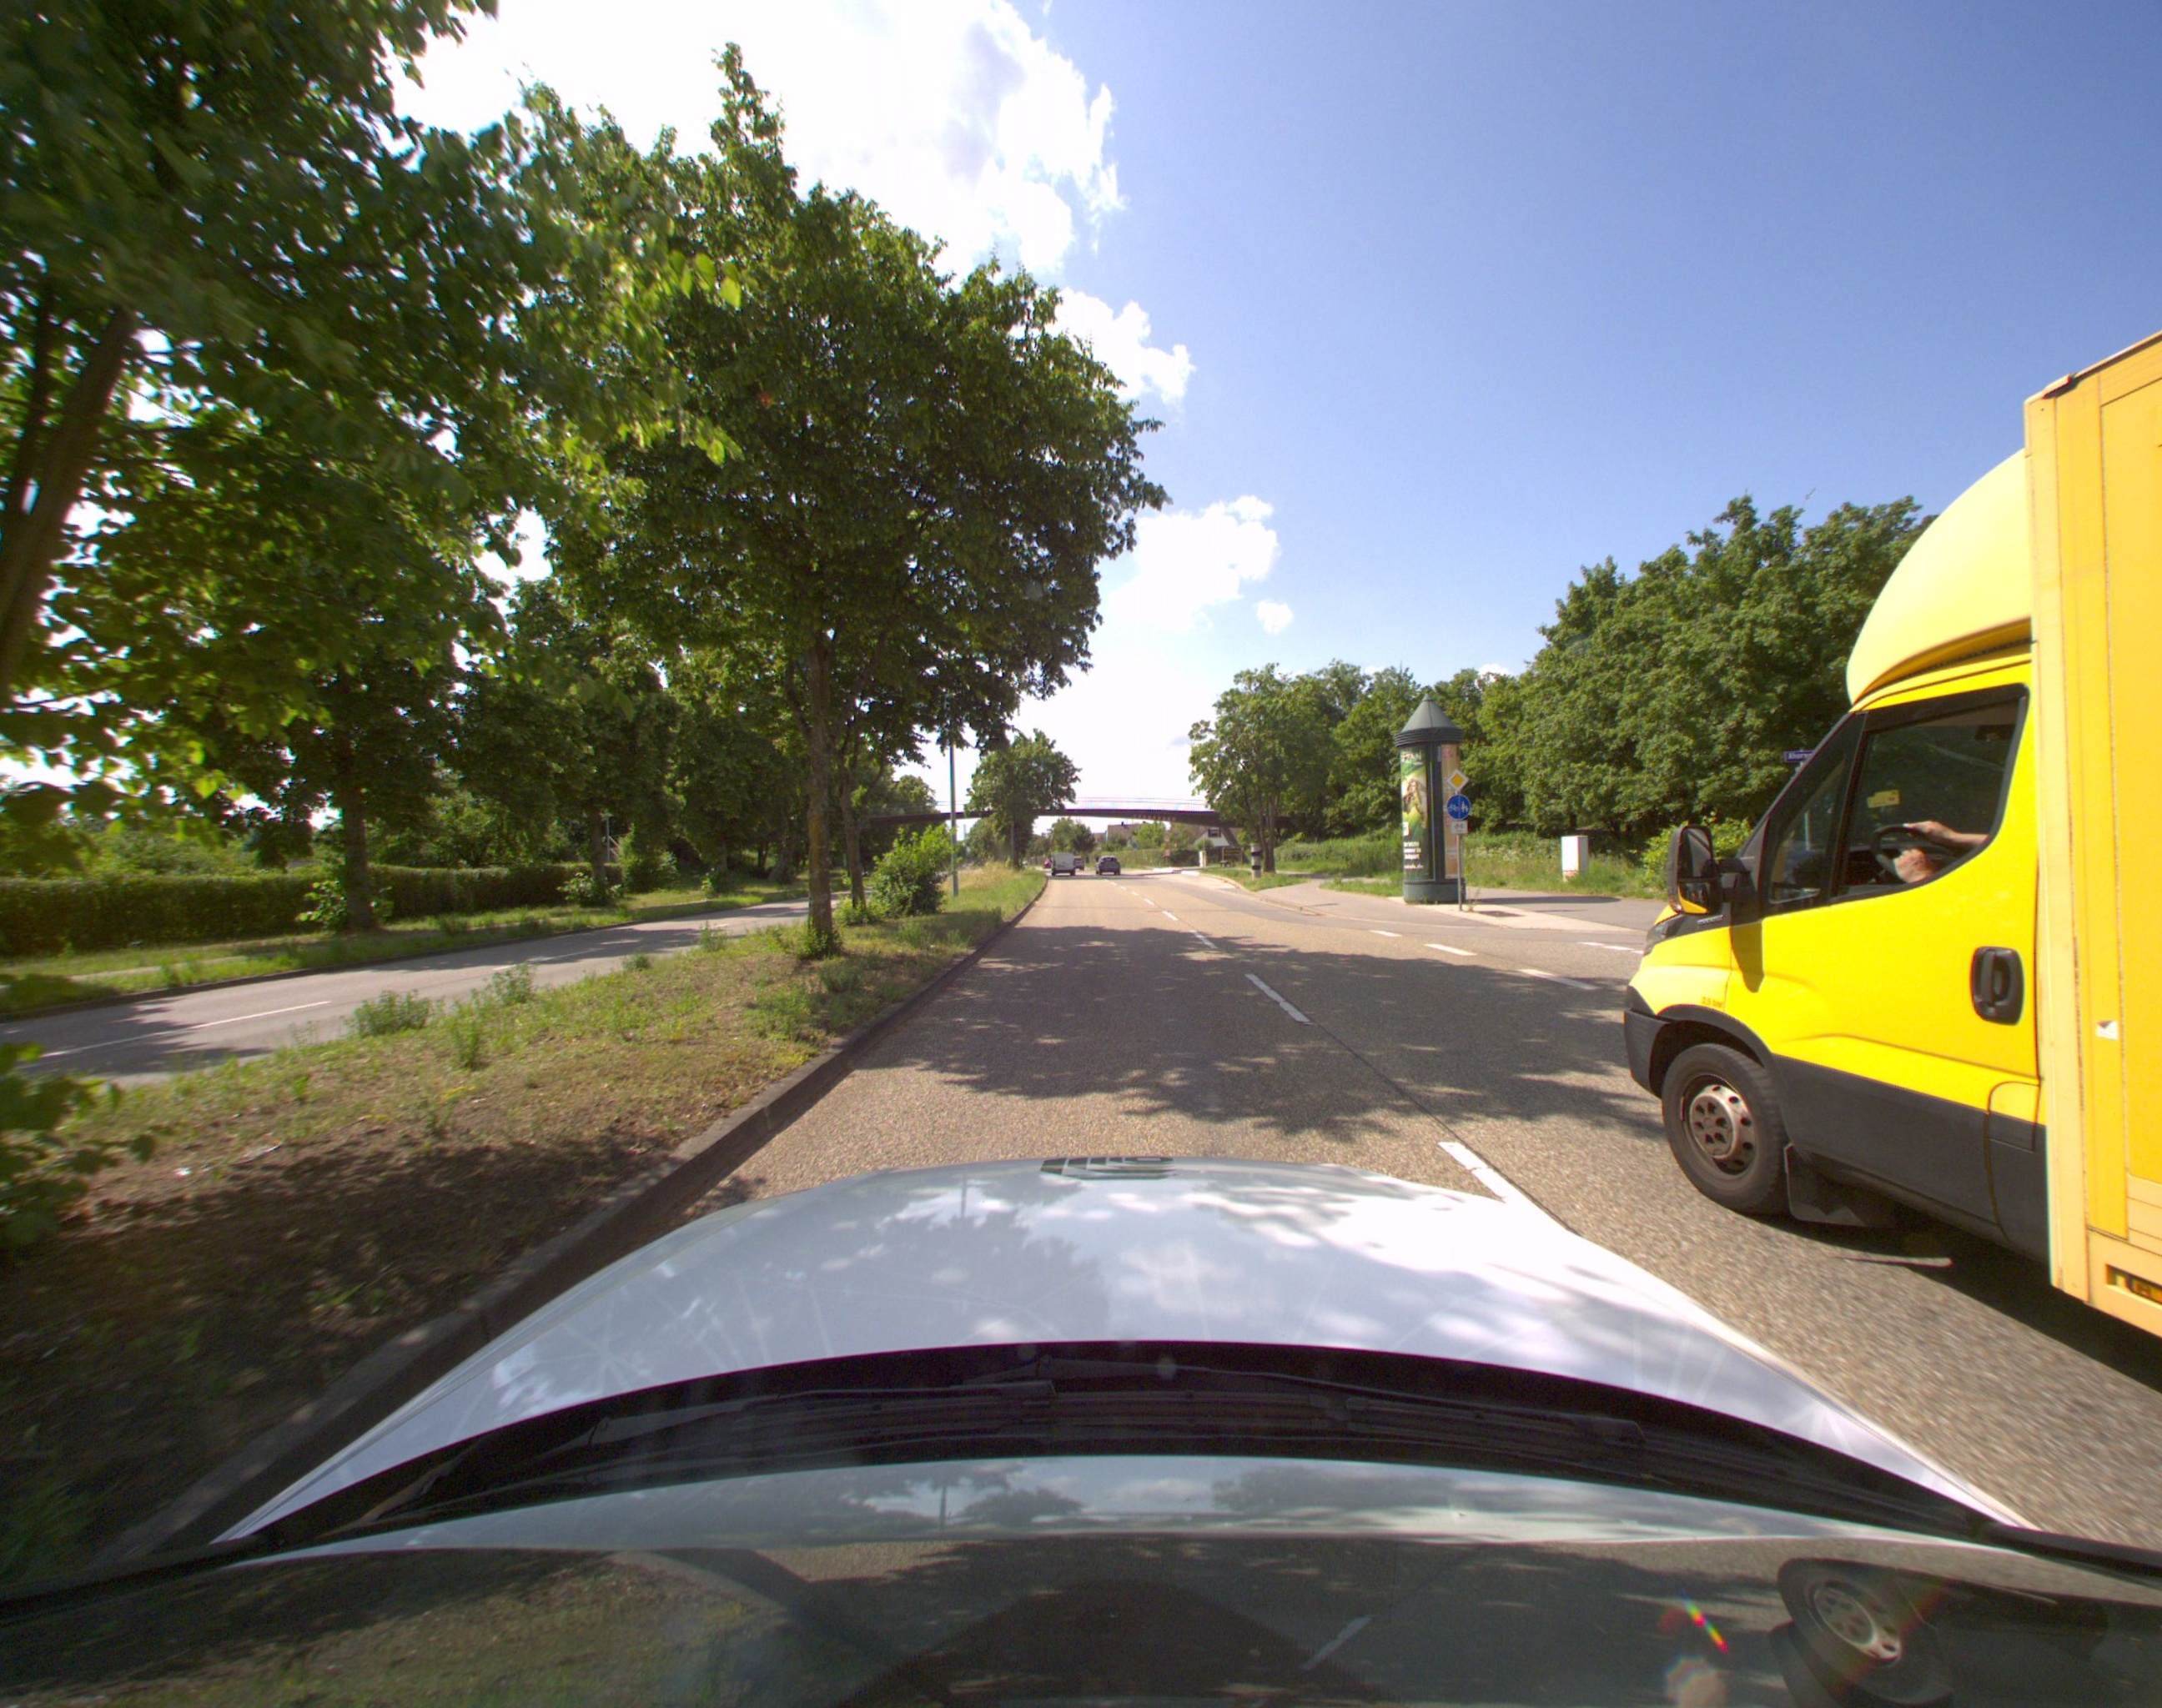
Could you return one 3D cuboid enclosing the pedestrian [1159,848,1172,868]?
[{"bbox_3d":[8.172,0.416,78.789,0.953,1.824,1.085,-3,-3,-5],"label":"pedestrian"}]

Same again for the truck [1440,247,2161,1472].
[{"bbox_3d":[3.671,0.011,1.901,2.257,2.880,8.029,0,0,1],"label":"truck"}]

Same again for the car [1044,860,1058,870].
[{"bbox_3d":[-5.007,1.841,135.722,1.879,1.587,3.989,-1,-1,-8],"label":"car"}]

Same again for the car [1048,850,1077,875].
[{"bbox_3d":[-1.514,0.680,65.591,2.062,1.912,4.638,-1,-1,-5],"label":"car"}]

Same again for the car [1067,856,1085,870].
[{"bbox_3d":[-0.612,1.129,98.536,1.872,1.652,3.992,-2,-1,-6],"label":"car"}]

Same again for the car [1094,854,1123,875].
[{"bbox_3d":[2.245,0.878,67.747,1.872,1.589,4.177,-2,-1,-4],"label":"car"}]
